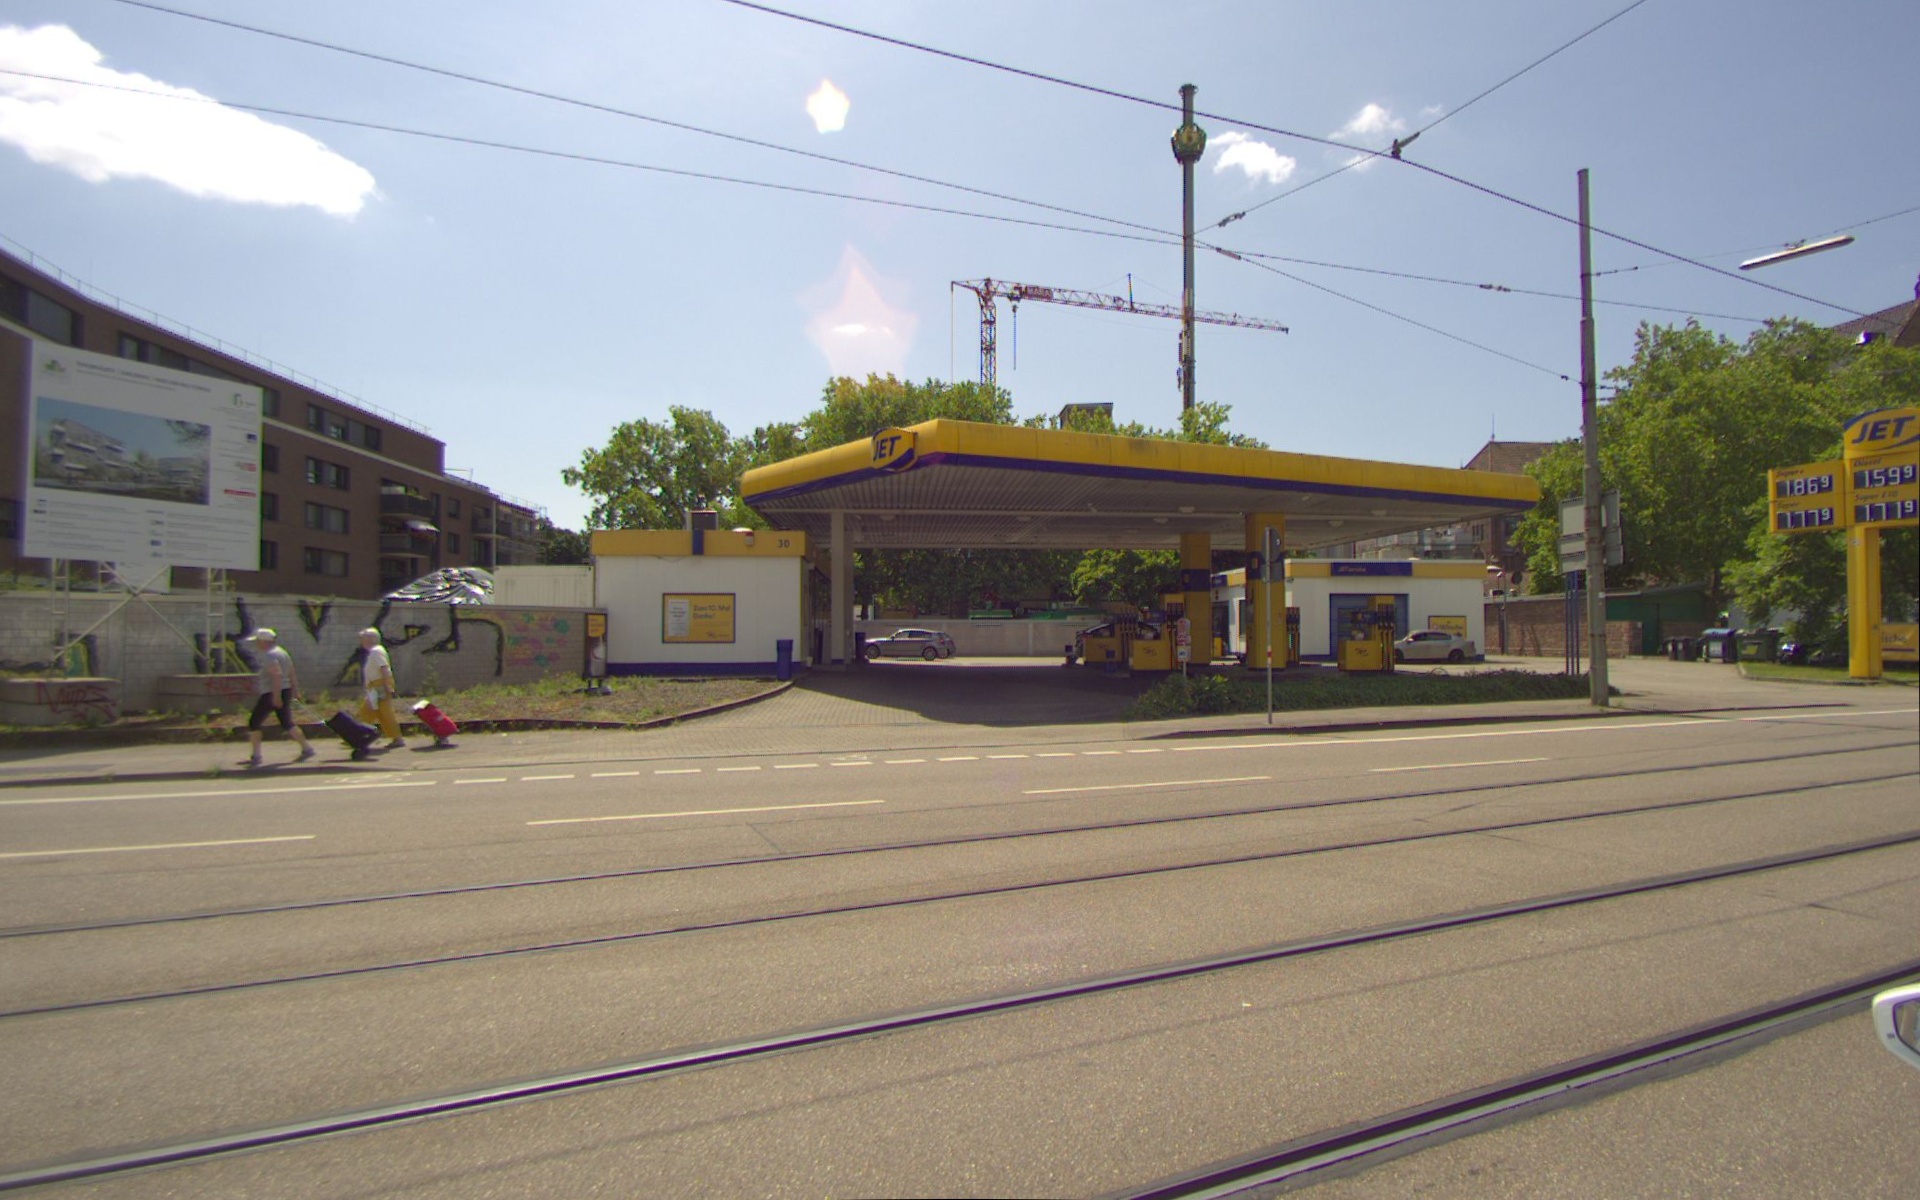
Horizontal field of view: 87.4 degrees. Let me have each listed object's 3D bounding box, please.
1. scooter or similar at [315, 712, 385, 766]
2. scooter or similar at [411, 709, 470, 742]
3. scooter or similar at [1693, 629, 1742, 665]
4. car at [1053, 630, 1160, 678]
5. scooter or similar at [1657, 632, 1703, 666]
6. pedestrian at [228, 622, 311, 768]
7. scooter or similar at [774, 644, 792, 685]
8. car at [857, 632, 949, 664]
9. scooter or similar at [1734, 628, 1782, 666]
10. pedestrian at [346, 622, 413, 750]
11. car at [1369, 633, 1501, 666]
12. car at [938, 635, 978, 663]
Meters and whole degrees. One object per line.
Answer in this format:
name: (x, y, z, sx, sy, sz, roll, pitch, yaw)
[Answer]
scooter or similar: (-7.459, 1.694, 12.304, 0.621, 0.588, 0.476, 1, -2, -17)
scooter or similar: (-7.156, 1.721, 13.850, 0.662, 0.400, 0.472, 1, -2, -21)
scooter or similar: (32.166, 2.009, 42.653, 1.042, 1.486, 1.314, 1, -2, -16)
car: (5.427, 2.037, 37.533, 3.697, 1.724, 1.604, 0, -4, -3)
scooter or similar: (32.145, 2.165, 44.872, 1.042, 1.486, 1.314, 1, -2, -16)
pedestrian: (-8.237, 1.112, 12.002, 0.657, 1.693, 0.580, 1, -2, -20)
scooter or similar: (-4.213, 1.536, 23.955, 0.322, 0.942, 0.404, 1, -2, -25)
car: (-2.645, 2.239, 46.425, 4.147, 1.364, 1.380, 1, -4, -4)
scooter or similar: (32.431, 1.913, 40.851, 1.044, 1.486, 1.170, 2, -2, -23)
pedestrian: (-7.857, 1.144, 13.616, 0.662, 1.680, 0.552, 1, -2, -21)
car: (20.482, 2.127, 43.411, 4.914, 1.383, 1.840, 0, -2, -5)
car: (-0.102, 2.512, 51.461, 1.934, 1.387, 1.019, 1, -4, -11)
